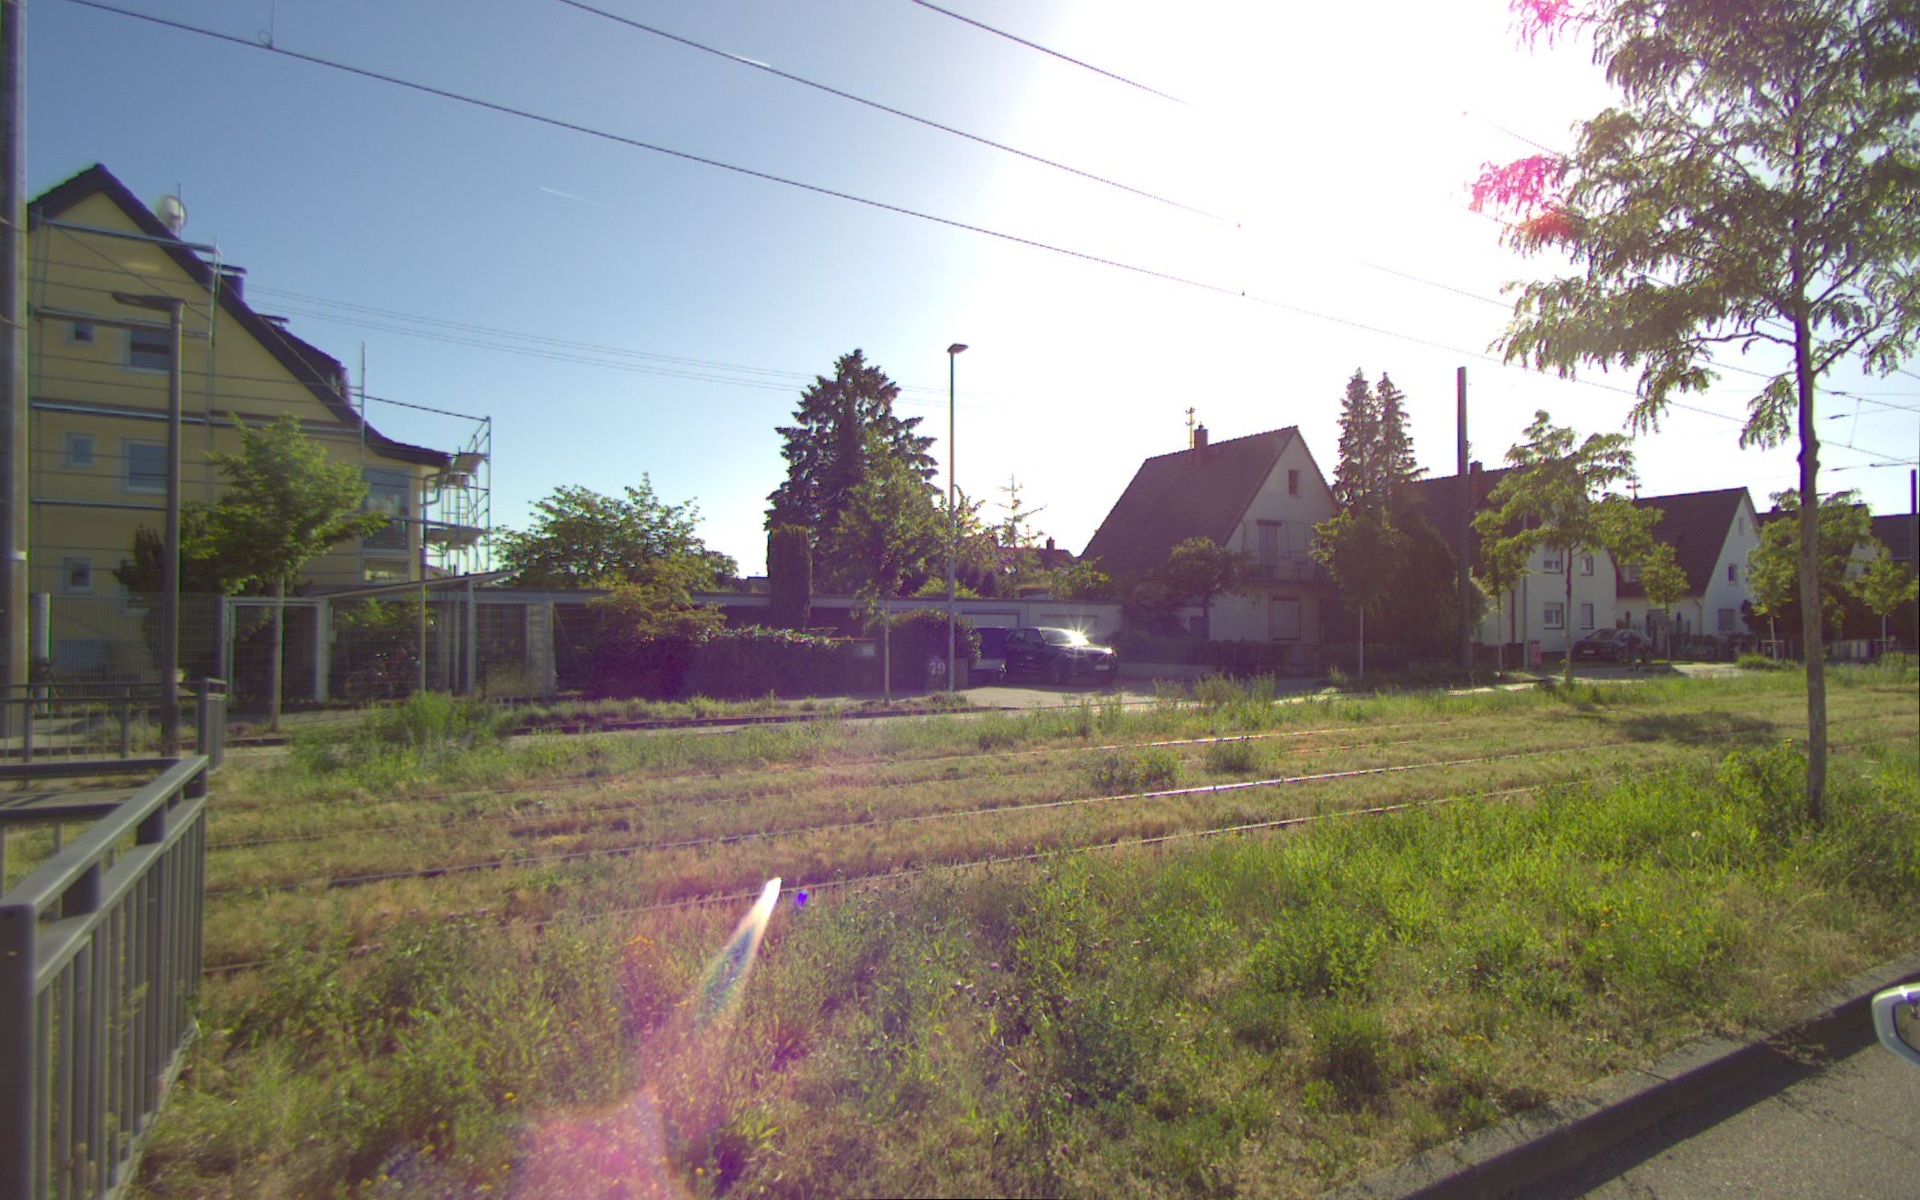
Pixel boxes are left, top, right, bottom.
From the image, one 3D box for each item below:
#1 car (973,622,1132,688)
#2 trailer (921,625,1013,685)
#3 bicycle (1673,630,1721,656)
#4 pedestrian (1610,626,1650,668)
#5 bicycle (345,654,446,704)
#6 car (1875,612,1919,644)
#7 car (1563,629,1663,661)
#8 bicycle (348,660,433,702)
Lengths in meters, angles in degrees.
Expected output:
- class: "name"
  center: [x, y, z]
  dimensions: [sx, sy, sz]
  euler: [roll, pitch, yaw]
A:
- class: "car"
  center: [2.623, 1.547, 29.311]
  dimensions: [2.037, 1.757, 4.501]
  euler: [2, -2, -41]
- class: "trailer"
  center: [0.172, 1.571, 29.473]
  dimensions: [1.383, 1.669, 2.898]
  euler: [1, -2, -32]
- class: "bicycle"
  center: [40.242, 2.357, 54.850]
  dimensions: [0.698, 1.383, 1.975]
  euler: [1, -2, -36]
- class: "pedestrian"
  center: [26.717, 1.871, 40.048]
  dimensions: [1.073, 1.662, 0.960]
  euler: [1, -2, -30]
- class: "bicycle"
  center: [-11.292, 1.571, 20.127]
  dimensions: [1.728, 0.954, 0.421]
  euler: [2, 0, -31]
- class: "car"
  center: [62.105, 1.814, 64.994]
  dimensions: [1.915, 1.996, 3.958]
  euler: [2, -1, -37]
- class: "car"
  center: [31.017, 2.111, 47.675]
  dimensions: [5.102, 1.469, 1.925]
  euler: [1, -2, -30]
- class: "bicycle"
  center: [-11.710, 1.654, 20.689]
  dimensions: [1.491, 0.832, 0.309]
  euler: [2, 0, -31]
